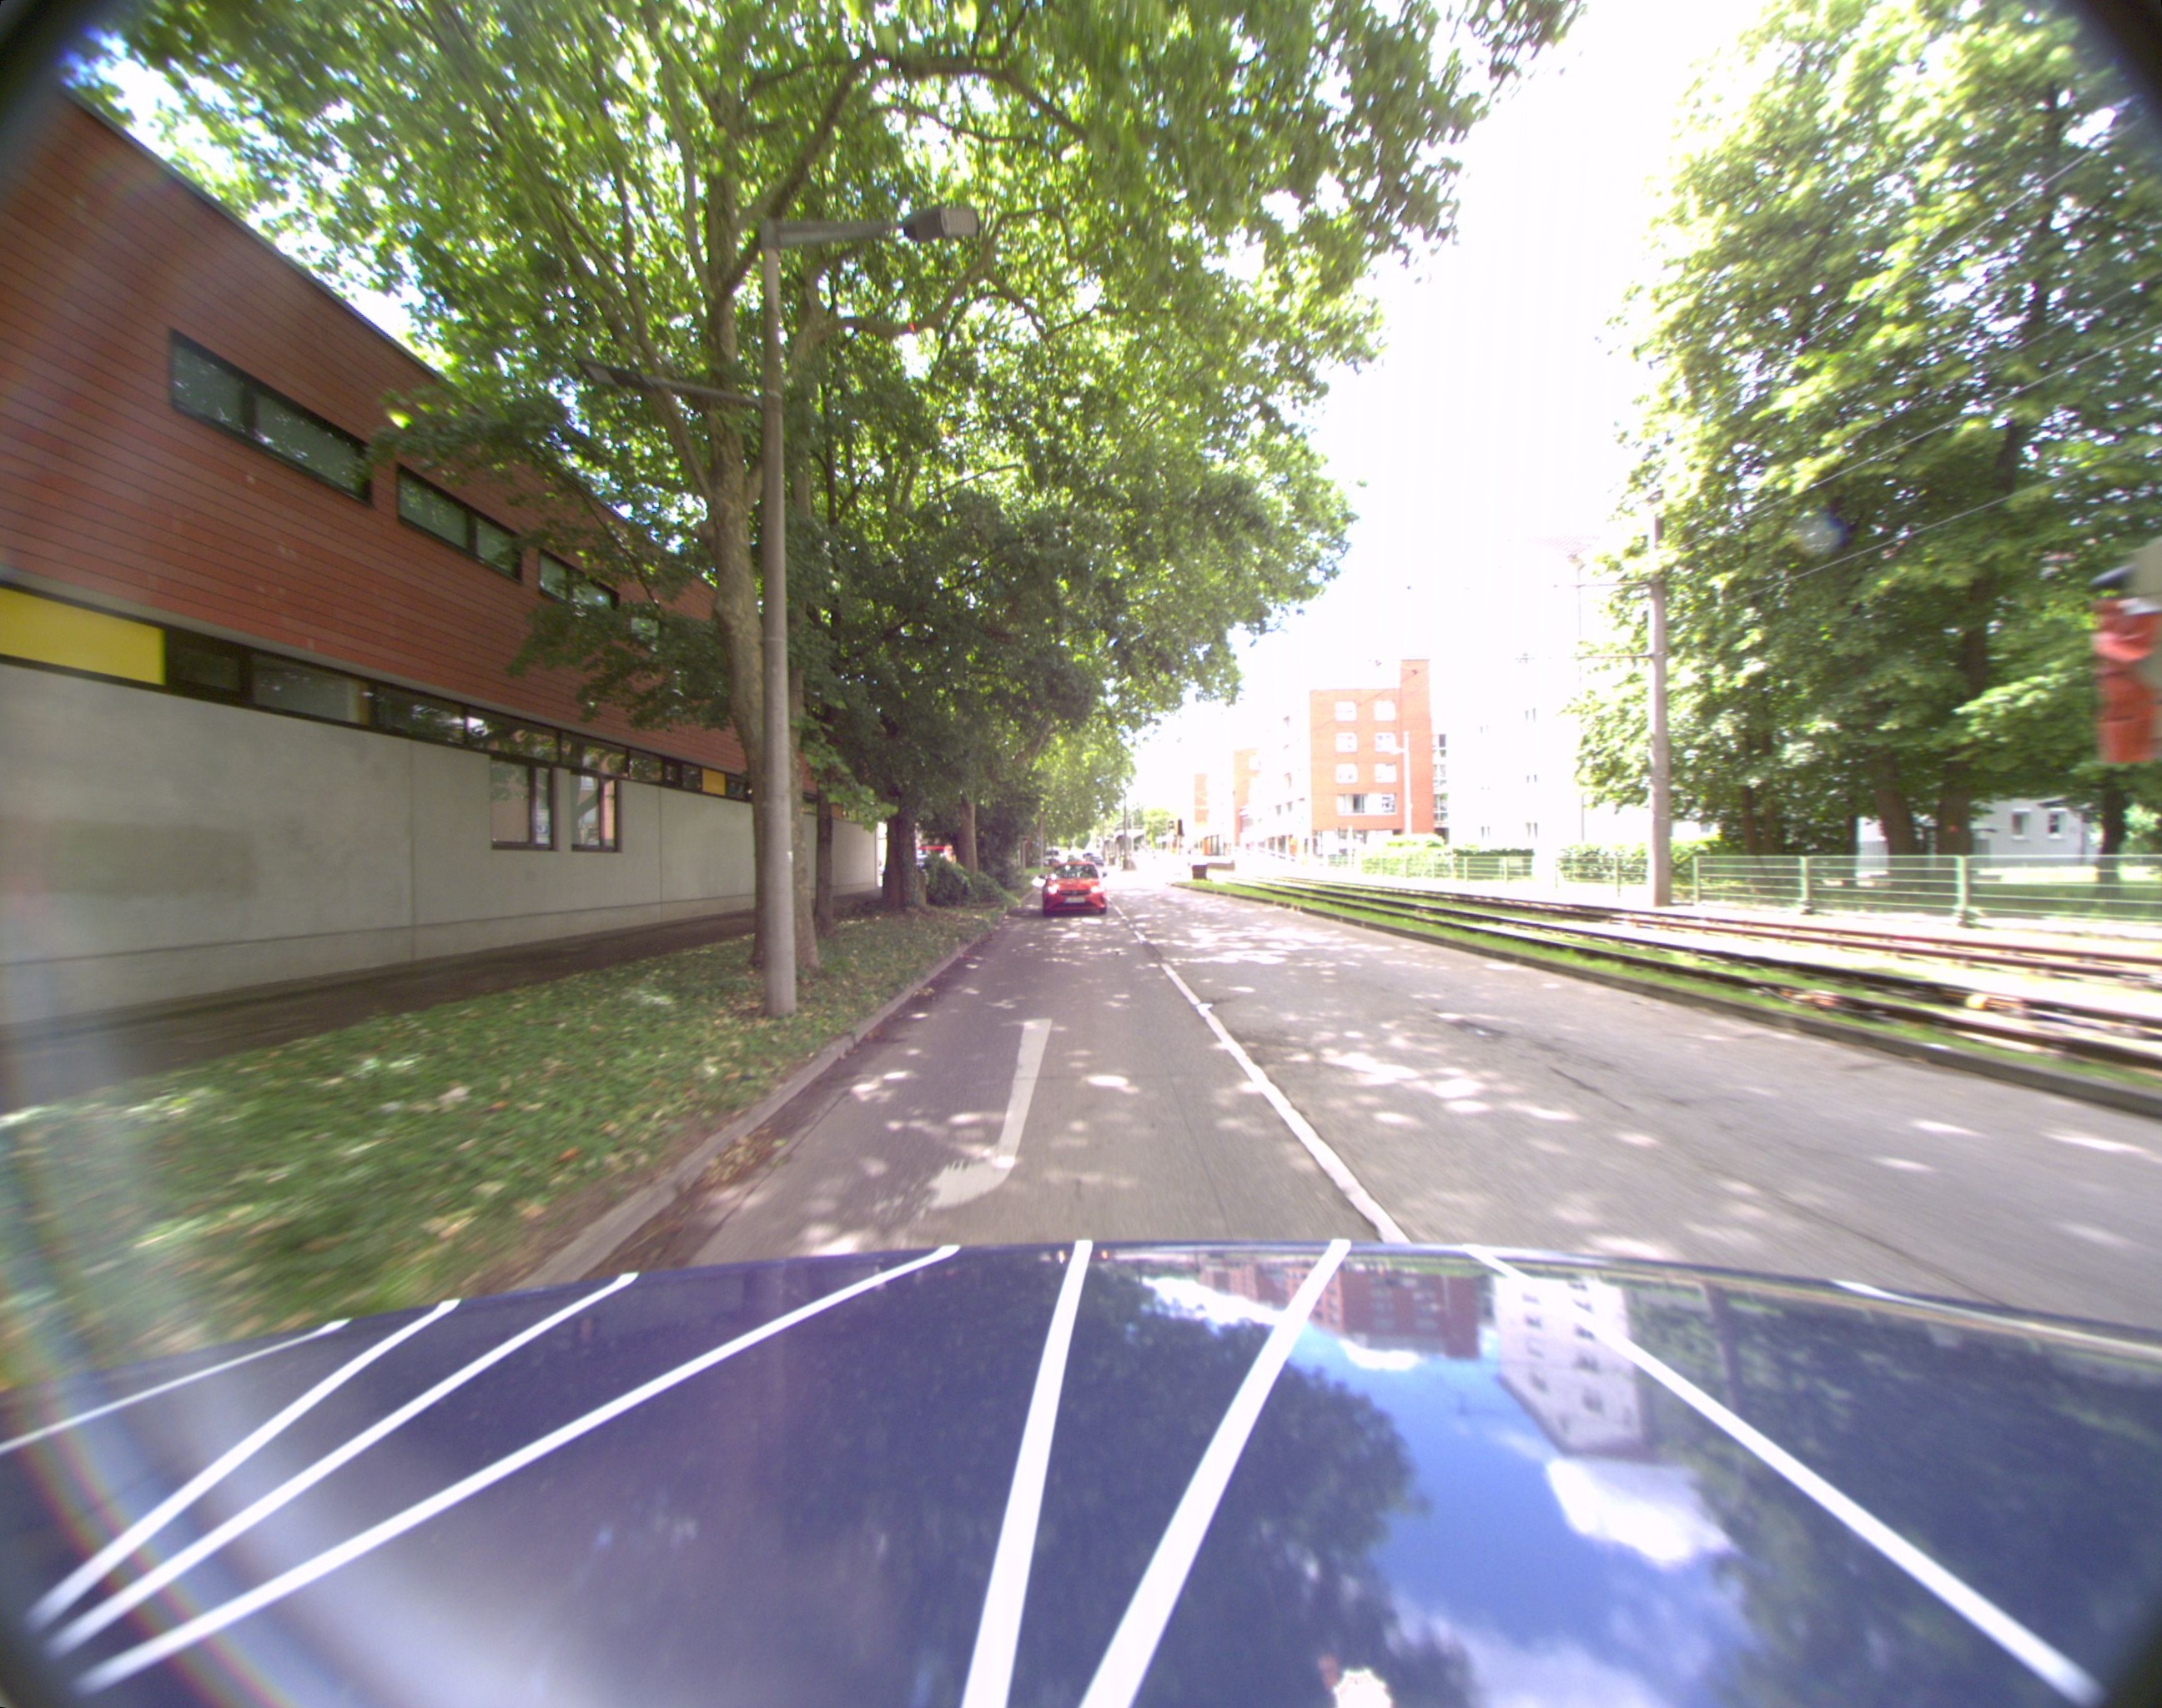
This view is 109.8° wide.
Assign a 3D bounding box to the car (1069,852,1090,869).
[{"bbox_3d":[-0.114,0.527,66.924,1.769,1.405,4.237,-2,0,1],"label":"car"}]

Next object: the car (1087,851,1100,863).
[{"bbox_3d":[2.023,0.496,122.963,1.998,1.805,4.000,-1,0,1],"label":"car"}]

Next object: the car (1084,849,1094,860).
[{"bbox_3d":[1.576,0.082,156.067,1.998,2.002,4.000,-2,0,1],"label":"car"}]

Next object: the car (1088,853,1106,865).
[{"bbox_3d":[1.950,0.634,92.166,1.999,1.346,3.772,-2,0,-2],"label":"car"}]

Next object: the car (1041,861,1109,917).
[{"bbox_3d":[-0.144,0.975,22.209,1.769,1.425,3.839,-2,-1,0],"label":"car"}]
